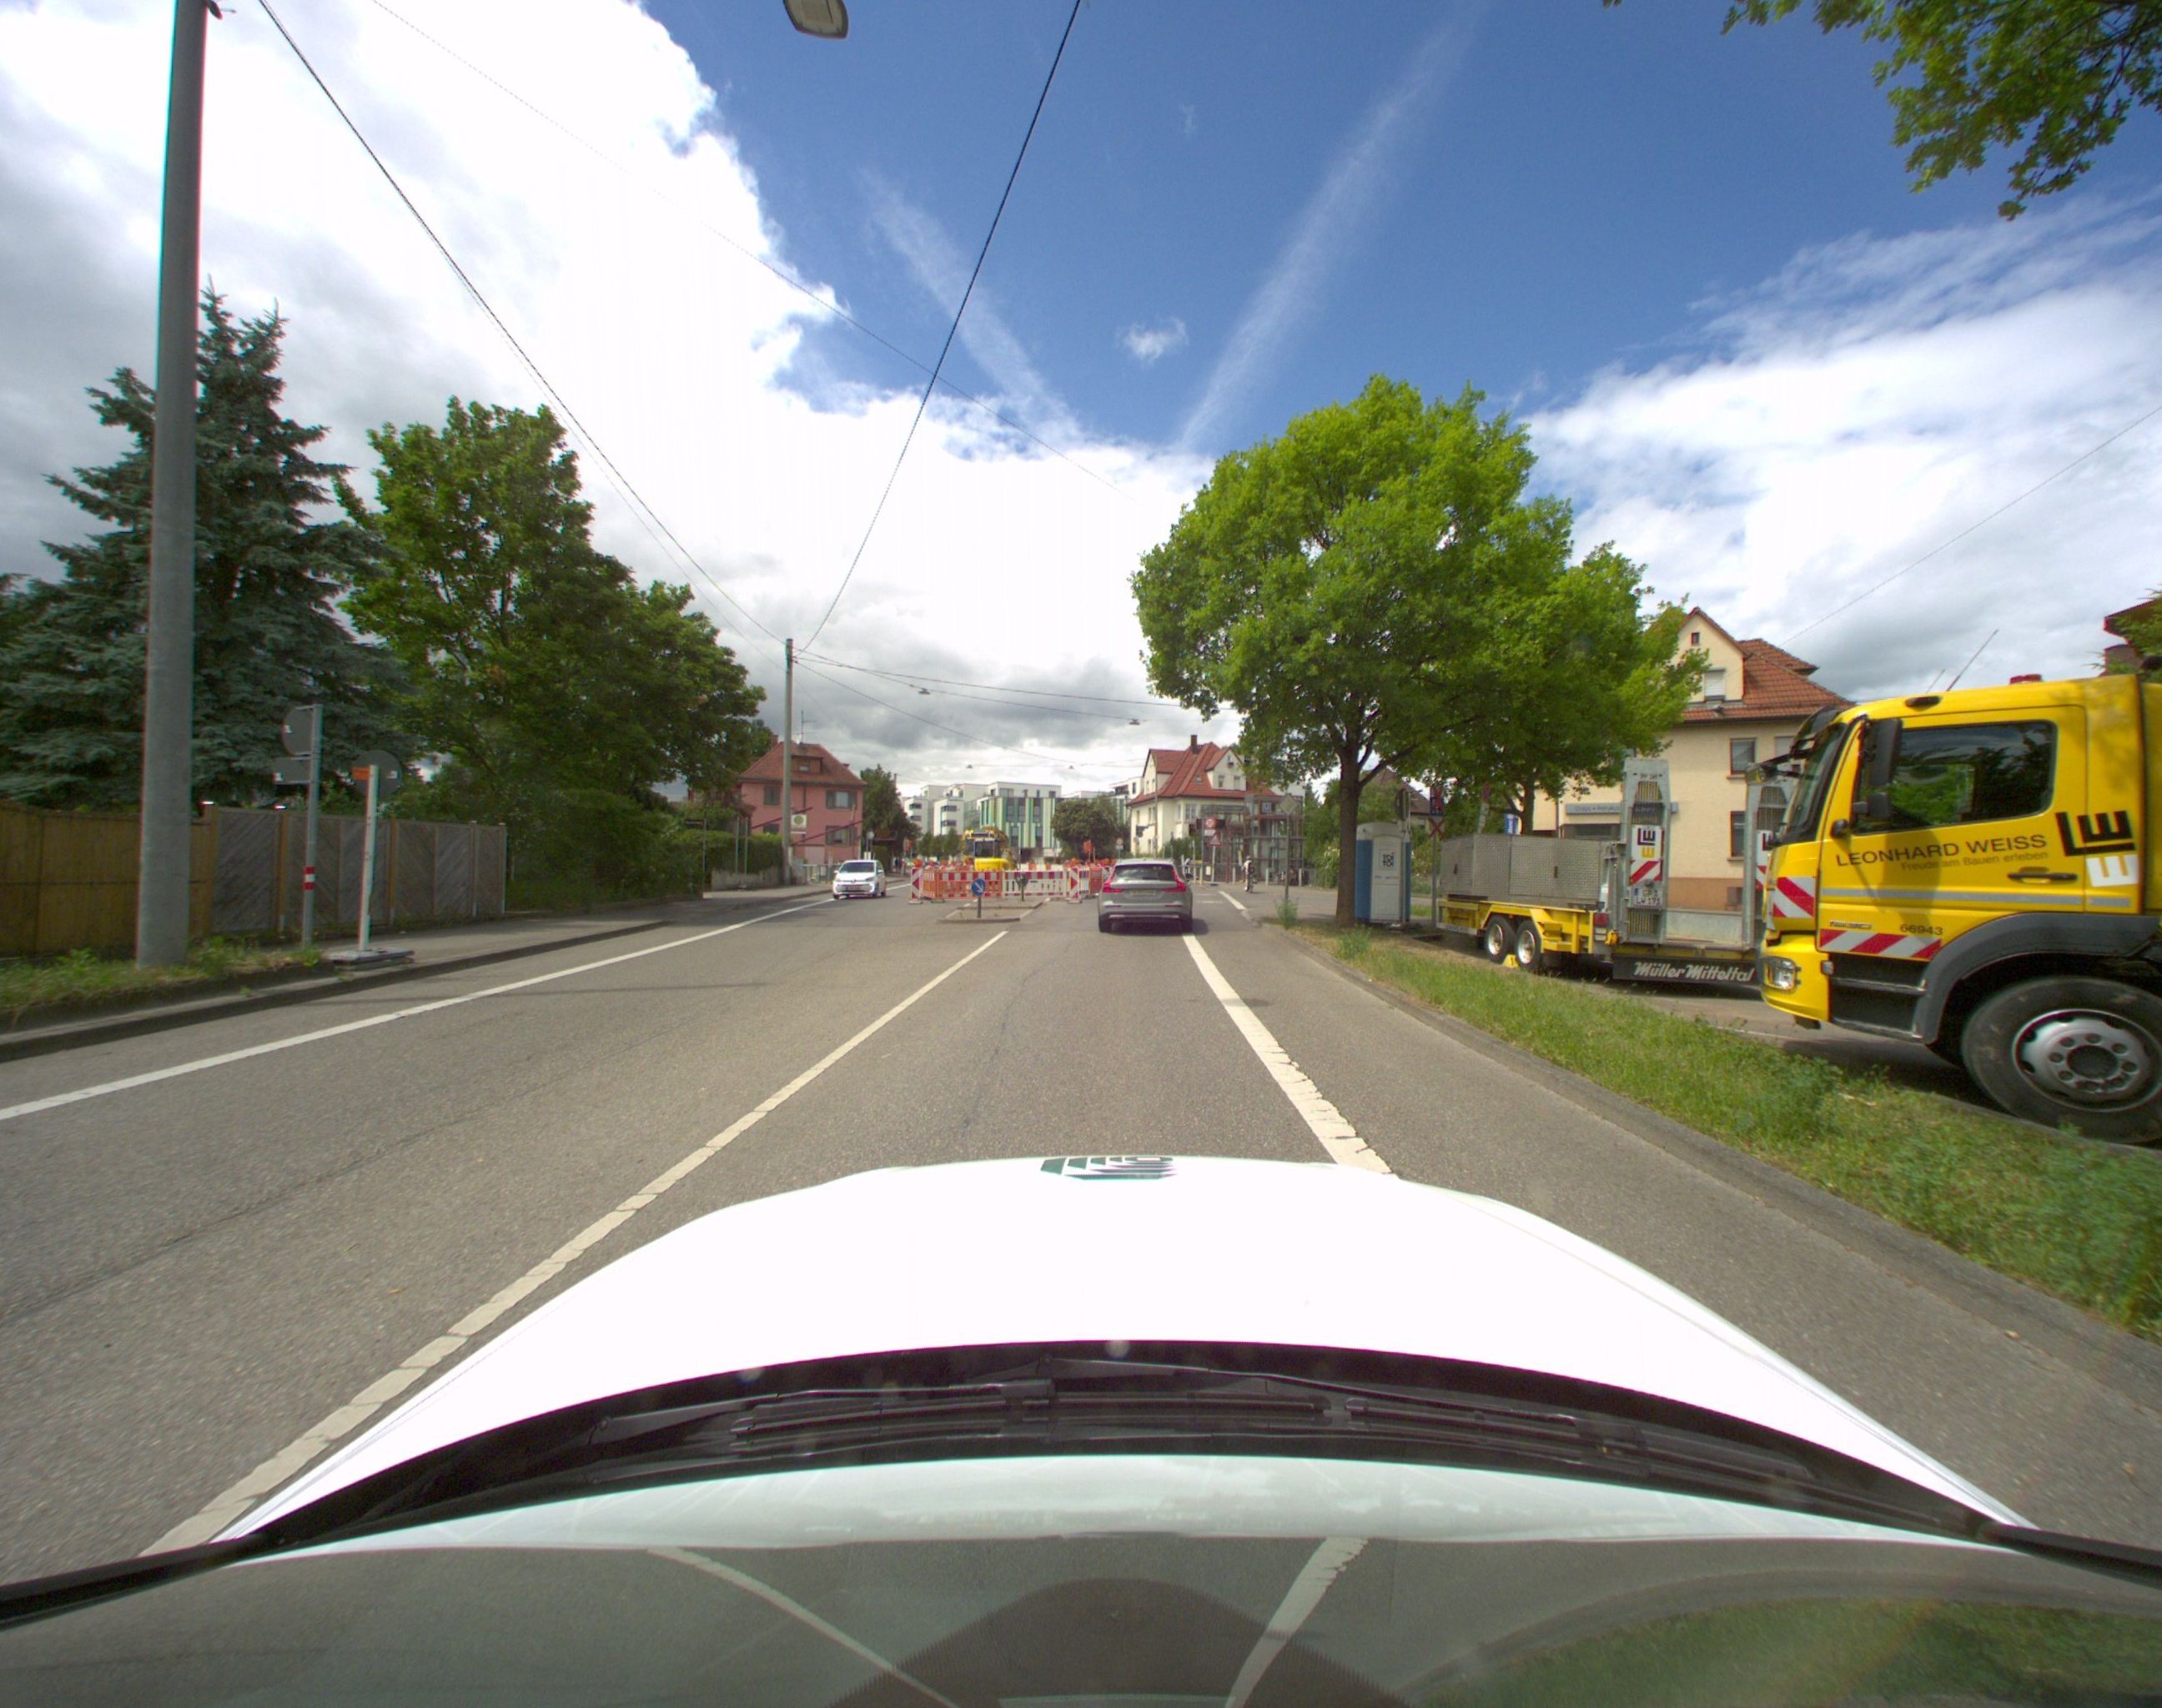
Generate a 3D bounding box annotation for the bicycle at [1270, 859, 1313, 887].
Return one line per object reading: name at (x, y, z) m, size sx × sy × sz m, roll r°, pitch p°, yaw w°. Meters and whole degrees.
bicycle at (11.029, 0.979, 42.900) m, size 1.386 × 1.190 × 3.473 m, roll 3°, pitch 2°, yaw 1°

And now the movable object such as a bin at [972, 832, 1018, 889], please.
movable object such as a bin at (-4.186, 0.304, 40.609) m, size 2.030 × 2.643 × 5.931 m, roll 1°, pitch 0°, yaw -4°

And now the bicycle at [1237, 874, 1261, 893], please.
bicycle at (7.571, 1.329, 36.761) m, size 0.593 × 0.812 × 1.752 m, roll 3°, pitch -2°, yaw -2°

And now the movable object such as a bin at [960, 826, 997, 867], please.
movable object such as a bin at (-8.034, -0.566, 63.044) m, size 2.312 × 2.990 × 6.400 m, roll 1°, pitch 0°, yaw -12°

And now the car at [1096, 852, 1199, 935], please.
car at (1.452, 0.732, 17.199) m, size 1.918 × 1.540 × 4.007 m, roll 0°, pitch 0°, yaw 6°

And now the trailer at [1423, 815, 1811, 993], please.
trailer at (7.478, 0.622, 12.361) m, size 2.380 × 2.032 × 5.514 m, roll 2°, pitch -1°, yaw 2°

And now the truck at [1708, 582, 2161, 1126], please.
truck at (7.928, 0.145, 4.646) m, size 6.623 × 3.008 × 2.786 m, roll 4°, pitch -1°, yaw 41°

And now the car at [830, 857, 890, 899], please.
car at (-8.567, 0.955, 31.895) m, size 1.888 × 1.508 × 3.985 m, roll -1°, pitch -2°, yaw -10°

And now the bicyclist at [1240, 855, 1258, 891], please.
bicyclist at (7.592, 0.867, 36.791) m, size 0.587 × 1.559 × 0.566 m, roll 3°, pitch -2°, yaw -3°
